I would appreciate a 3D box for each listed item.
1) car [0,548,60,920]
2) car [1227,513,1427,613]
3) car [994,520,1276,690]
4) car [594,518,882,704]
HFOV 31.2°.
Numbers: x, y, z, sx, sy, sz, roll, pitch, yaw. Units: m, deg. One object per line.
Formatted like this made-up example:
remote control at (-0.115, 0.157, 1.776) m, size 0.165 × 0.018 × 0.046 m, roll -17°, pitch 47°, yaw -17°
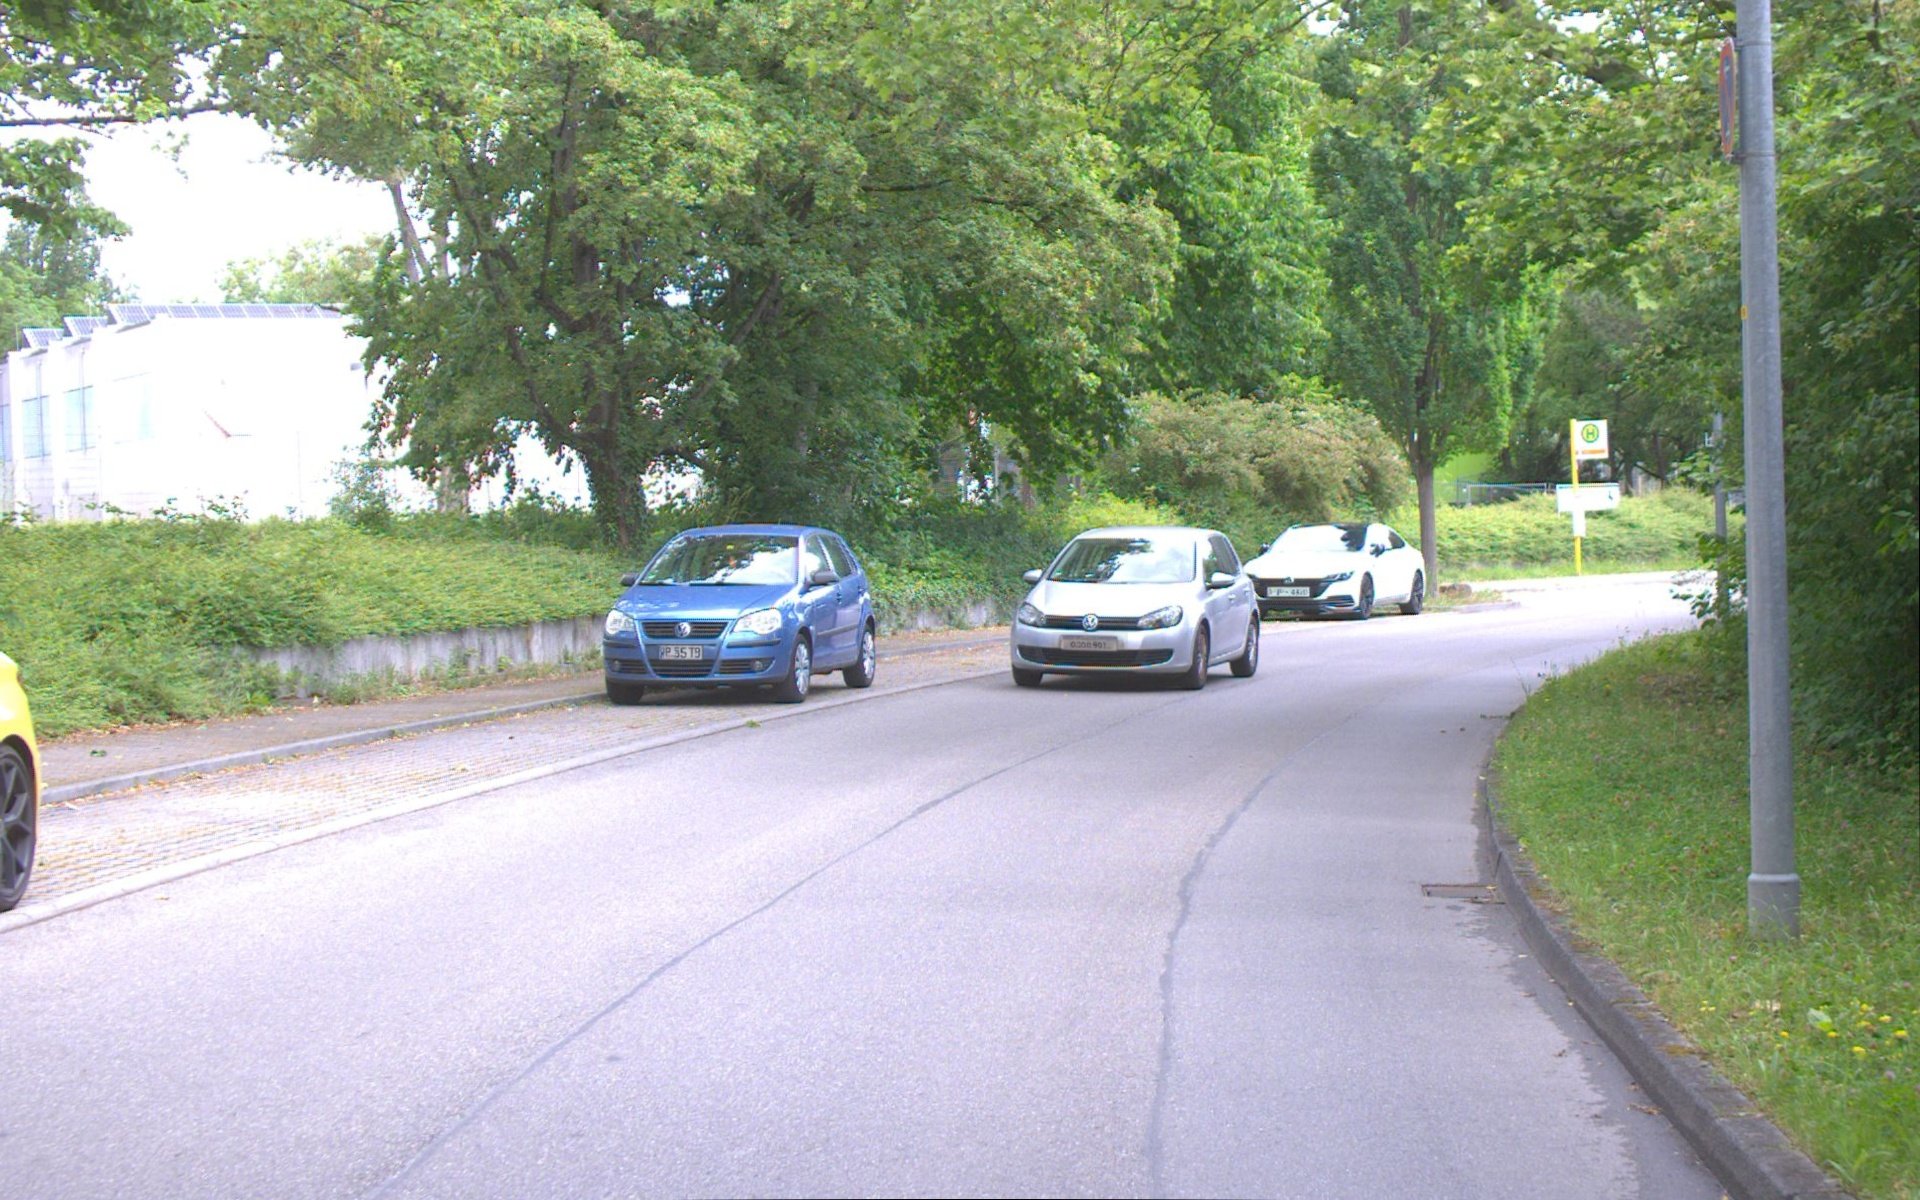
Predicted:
car at (-4.536, 0.534, 11.561) m, size 1.700 × 1.398 × 4.273 m, roll 0°, pitch 1°, yaw 3°
car at (5.489, -0.580, 50.995) m, size 1.816 × 1.419 × 4.356 m, roll 1°, pitch 2°, yaw 22°
car at (1.727, -0.006, 32.518) m, size 1.678 × 1.457 × 4.058 m, roll 1°, pitch 2°, yaw 17°
car at (-1.826, 0.049, 29.338) m, size 1.534 × 1.454 × 3.719 m, roll -1°, pitch 1°, yaw 11°
